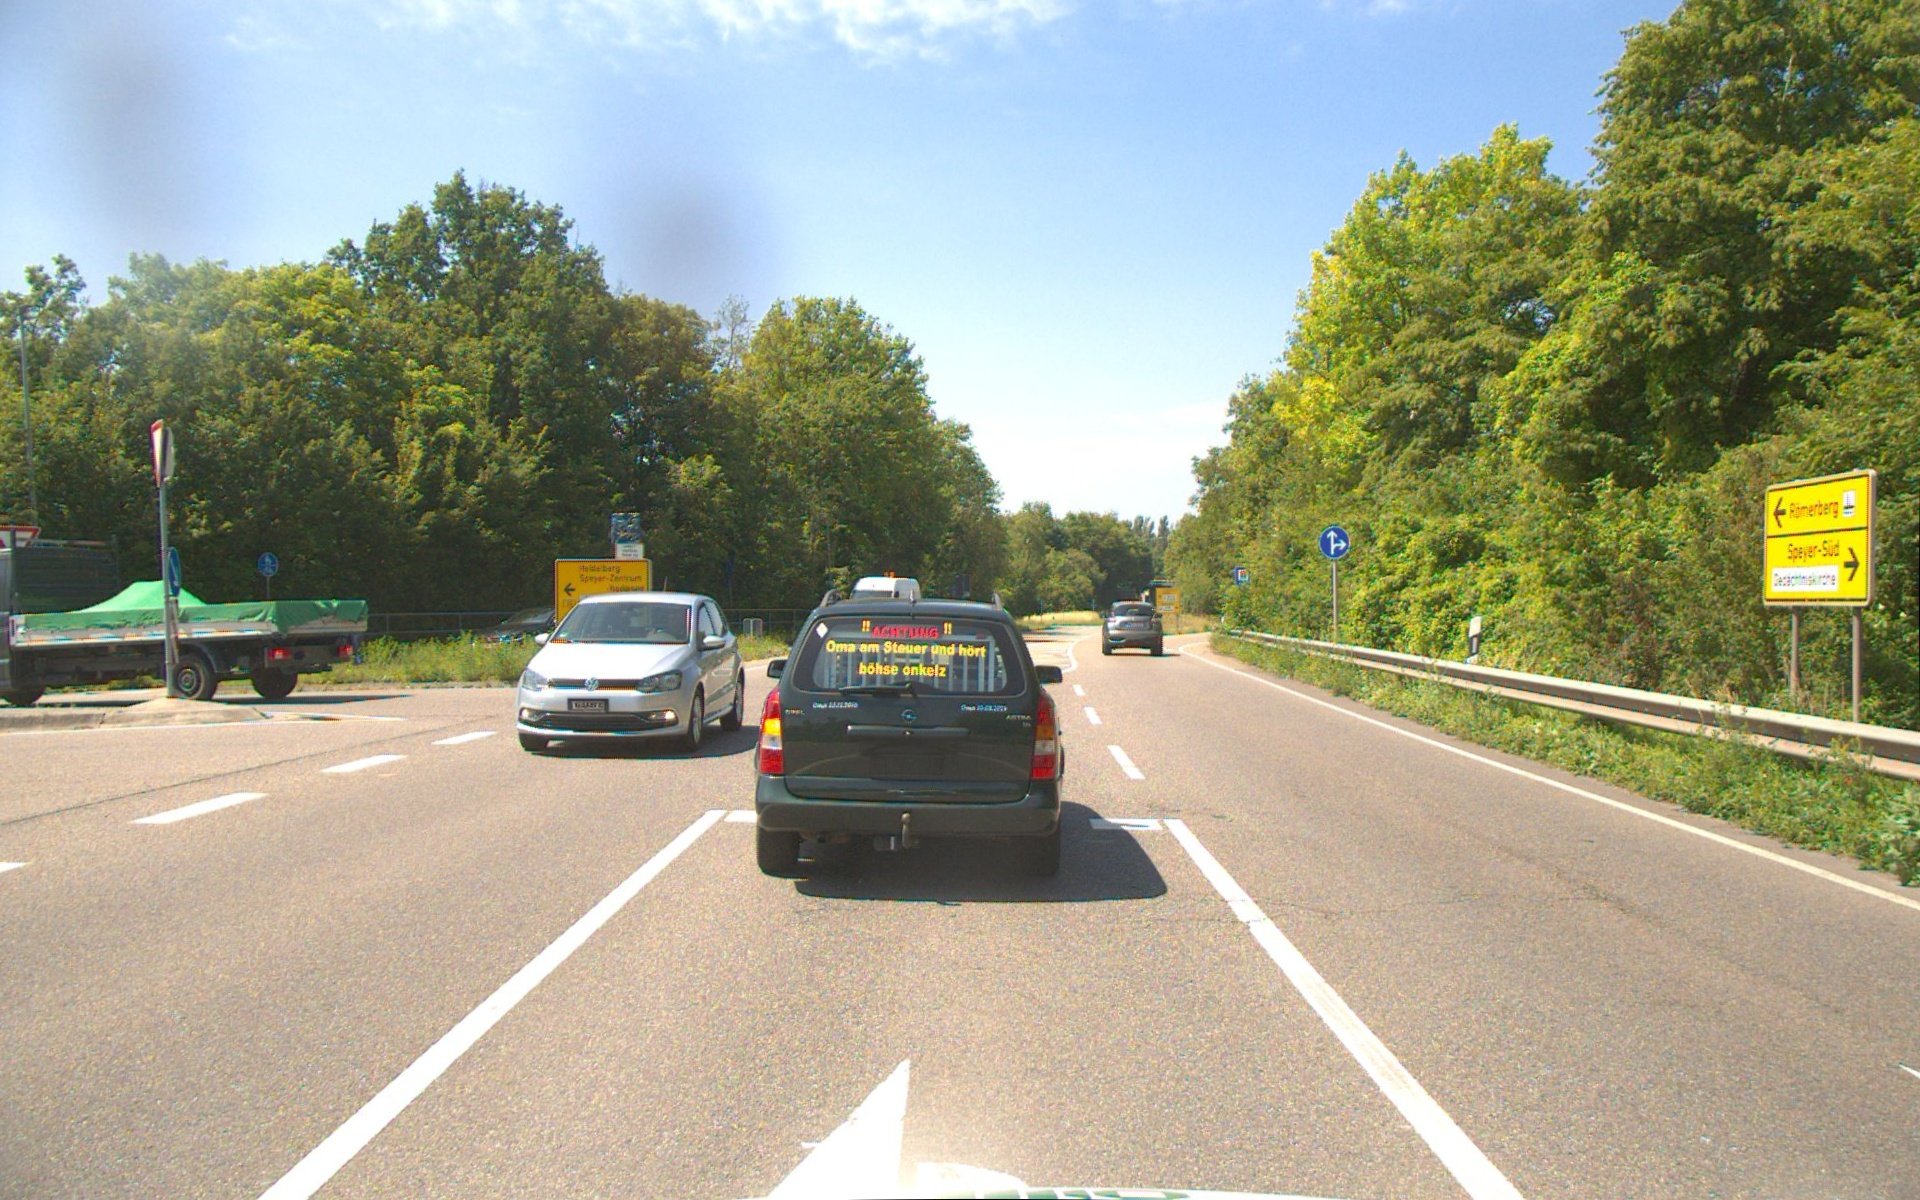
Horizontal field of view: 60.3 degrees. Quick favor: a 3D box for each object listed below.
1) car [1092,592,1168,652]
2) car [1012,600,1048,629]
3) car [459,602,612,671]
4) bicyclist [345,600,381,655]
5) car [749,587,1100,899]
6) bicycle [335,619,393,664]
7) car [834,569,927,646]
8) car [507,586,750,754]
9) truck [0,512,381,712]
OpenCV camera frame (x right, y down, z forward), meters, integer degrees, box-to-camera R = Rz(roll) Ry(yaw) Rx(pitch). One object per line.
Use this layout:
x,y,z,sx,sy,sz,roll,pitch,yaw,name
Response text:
5.060,0.633,49.705,1.806,1.714,3.999,0,1,-1,car
7.825,1.603,186.190,1.970,3.282,4.766,0,0,-27,car
-11.168,0.914,43.736,1.640,1.691,3.994,0,0,29,car
-15.560,0.709,43.096,0.675,1.387,0.607,0,0,34,bicyclist
-0.178,0.679,9.907,1.685,1.482,3.797,1,1,0,car
-15.534,1.063,43.126,0.427,1.133,1.478,-1,0,33,bicycle
-3.093,0.294,65.823,2.060,2.900,6.016,1,0,13,car
-3.121,0.612,16.274,1.611,1.443,3.766,1,0,0,car
-11.882,0.228,23.856,6.476,2.610,2.148,-2,-1,13,truck
